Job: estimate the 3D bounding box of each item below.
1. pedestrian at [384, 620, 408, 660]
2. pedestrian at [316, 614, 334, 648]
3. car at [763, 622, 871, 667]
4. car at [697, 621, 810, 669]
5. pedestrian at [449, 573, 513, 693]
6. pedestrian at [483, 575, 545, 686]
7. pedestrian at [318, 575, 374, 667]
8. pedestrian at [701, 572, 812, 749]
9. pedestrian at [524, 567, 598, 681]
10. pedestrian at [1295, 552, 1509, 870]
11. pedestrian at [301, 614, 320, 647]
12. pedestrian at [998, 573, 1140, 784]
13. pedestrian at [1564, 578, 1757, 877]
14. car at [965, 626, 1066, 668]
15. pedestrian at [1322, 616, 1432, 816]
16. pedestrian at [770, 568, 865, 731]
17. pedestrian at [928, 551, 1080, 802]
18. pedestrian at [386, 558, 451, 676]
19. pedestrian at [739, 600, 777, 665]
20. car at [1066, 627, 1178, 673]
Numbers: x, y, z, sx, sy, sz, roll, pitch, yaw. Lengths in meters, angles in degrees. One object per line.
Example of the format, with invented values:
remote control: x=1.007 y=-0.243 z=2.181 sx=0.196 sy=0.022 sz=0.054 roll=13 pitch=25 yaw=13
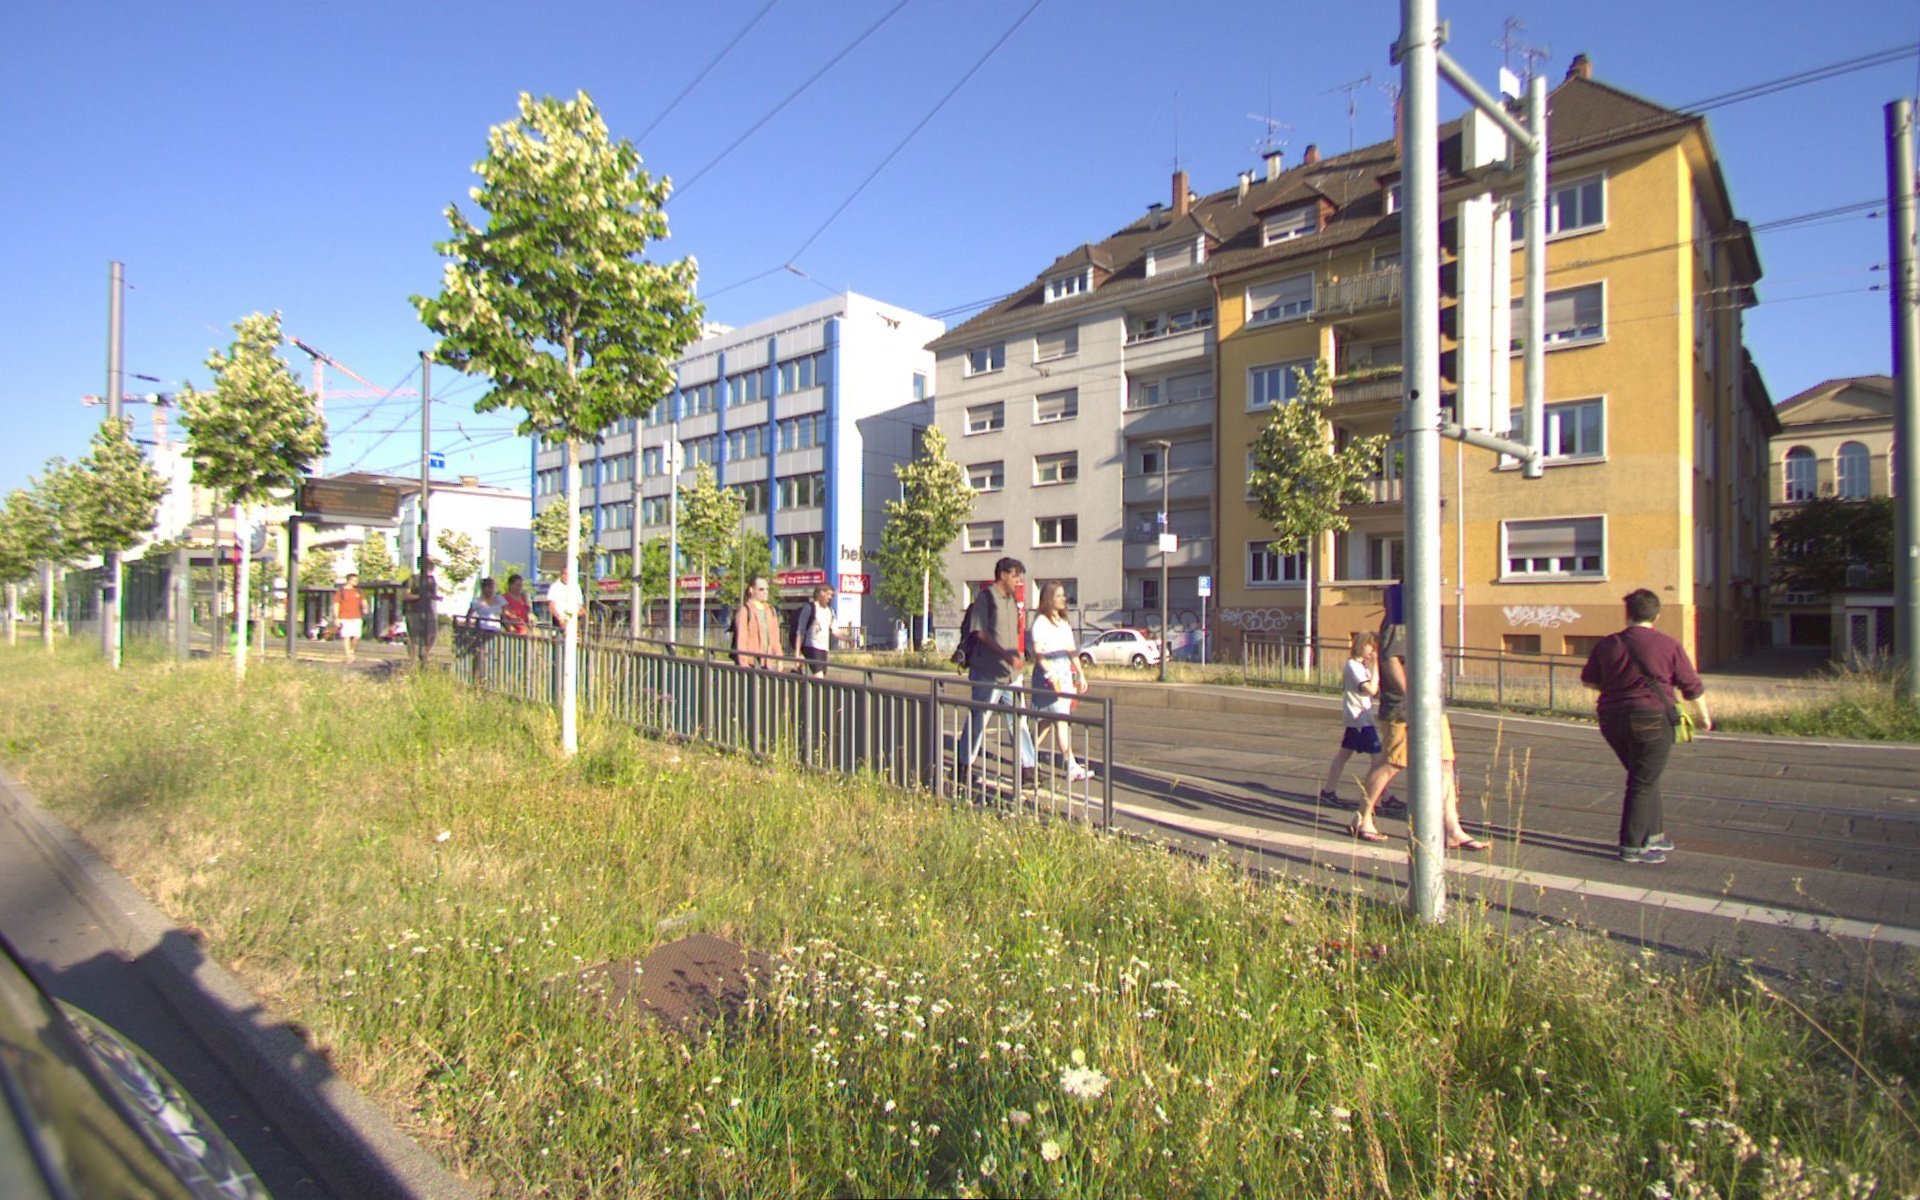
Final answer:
pedestrian: x=-24.572 y=1.736 z=44.100 sx=0.771 sy=1.705 sz=0.651 roll=-1 pitch=0 yaw=39
pedestrian: x=-31.895 y=1.555 z=50.839 sx=0.650 sy=1.705 sz=0.773 roll=-1 pitch=0 yaw=-43
car: x=-5.326 y=1.620 z=37.565 sx=3.941 sy=1.519 sz=1.861 roll=-1 pitch=0 yaw=41
car: x=-7.207 y=1.516 z=35.131 sx=3.941 sy=1.519 sz=1.861 roll=-1 pitch=0 yaw=41
pedestrian: x=-6.084 y=0.405 z=12.853 sx=0.628 sy=1.467 sz=0.526 roll=-1 pitch=0 yaw=-37
pedestrian: x=-5.936 y=0.391 z=13.474 sx=0.628 sy=1.442 sz=0.526 roll=-1 pitch=0 yaw=-40
pedestrian: x=-11.800 y=0.394 z=19.445 sx=0.620 sy=1.711 sz=0.776 roll=-1 pitch=0 yaw=44
pedestrian: x=-1.872 y=0.527 z=9.336 sx=0.776 sy=1.547 sz=0.620 roll=-1 pitch=0 yaw=-45
pedestrian: x=-5.639 y=0.330 z=14.304 sx=0.620 sy=1.560 sz=0.776 roll=-1 pitch=0 yaw=44
pedestrian: x=2.680 y=0.614 z=6.201 sx=0.763 sy=1.771 sz=0.903 roll=-1 pitch=0 yaw=-23
pedestrian: x=-33.605 y=1.577 z=52.384 sx=0.772 sy=1.705 sz=0.651 roll=-1 pitch=0 yaw=44
pedestrian: x=0.918 y=0.616 z=8.507 sx=0.899 sy=1.653 sz=0.778 roll=-1 pitch=0 yaw=39
pedestrian: x=4.075 y=0.681 z=5.904 sx=0.599 sy=1.600 sz=0.790 roll=-1 pitch=0 yaw=-41
car: x=2.198 y=1.858 z=40.460 sx=3.672 sy=1.519 sz=1.861 roll=-1 pitch=0 yaw=41
pedestrian: x=3.061 y=0.809 z=7.427 sx=0.607 sy=1.370 sz=0.589 roll=-1 pitch=0 yaw=37
pedestrian: x=-1.510 y=0.498 z=10.771 sx=0.619 sy=1.653 sz=0.778 roll=-1 pitch=0 yaw=39
pedestrian: x=0.344 y=0.543 z=7.917 sx=0.900 sy=1.814 sz=0.777 roll=1 pitch=1 yaw=42
pedestrian: x=-8.910 y=0.266 z=16.651 sx=0.620 sy=1.878 sz=0.776 roll=-1 pitch=0 yaw=44
pedestrian: x=-5.360 y=0.854 z=26.875 sx=0.620 sy=1.685 sz=0.776 roll=-1 pitch=0 yaw=44
car: x=5.944 y=1.809 z=37.360 sx=3.672 sy=1.519 sz=1.861 roll=-1 pitch=0 yaw=41
